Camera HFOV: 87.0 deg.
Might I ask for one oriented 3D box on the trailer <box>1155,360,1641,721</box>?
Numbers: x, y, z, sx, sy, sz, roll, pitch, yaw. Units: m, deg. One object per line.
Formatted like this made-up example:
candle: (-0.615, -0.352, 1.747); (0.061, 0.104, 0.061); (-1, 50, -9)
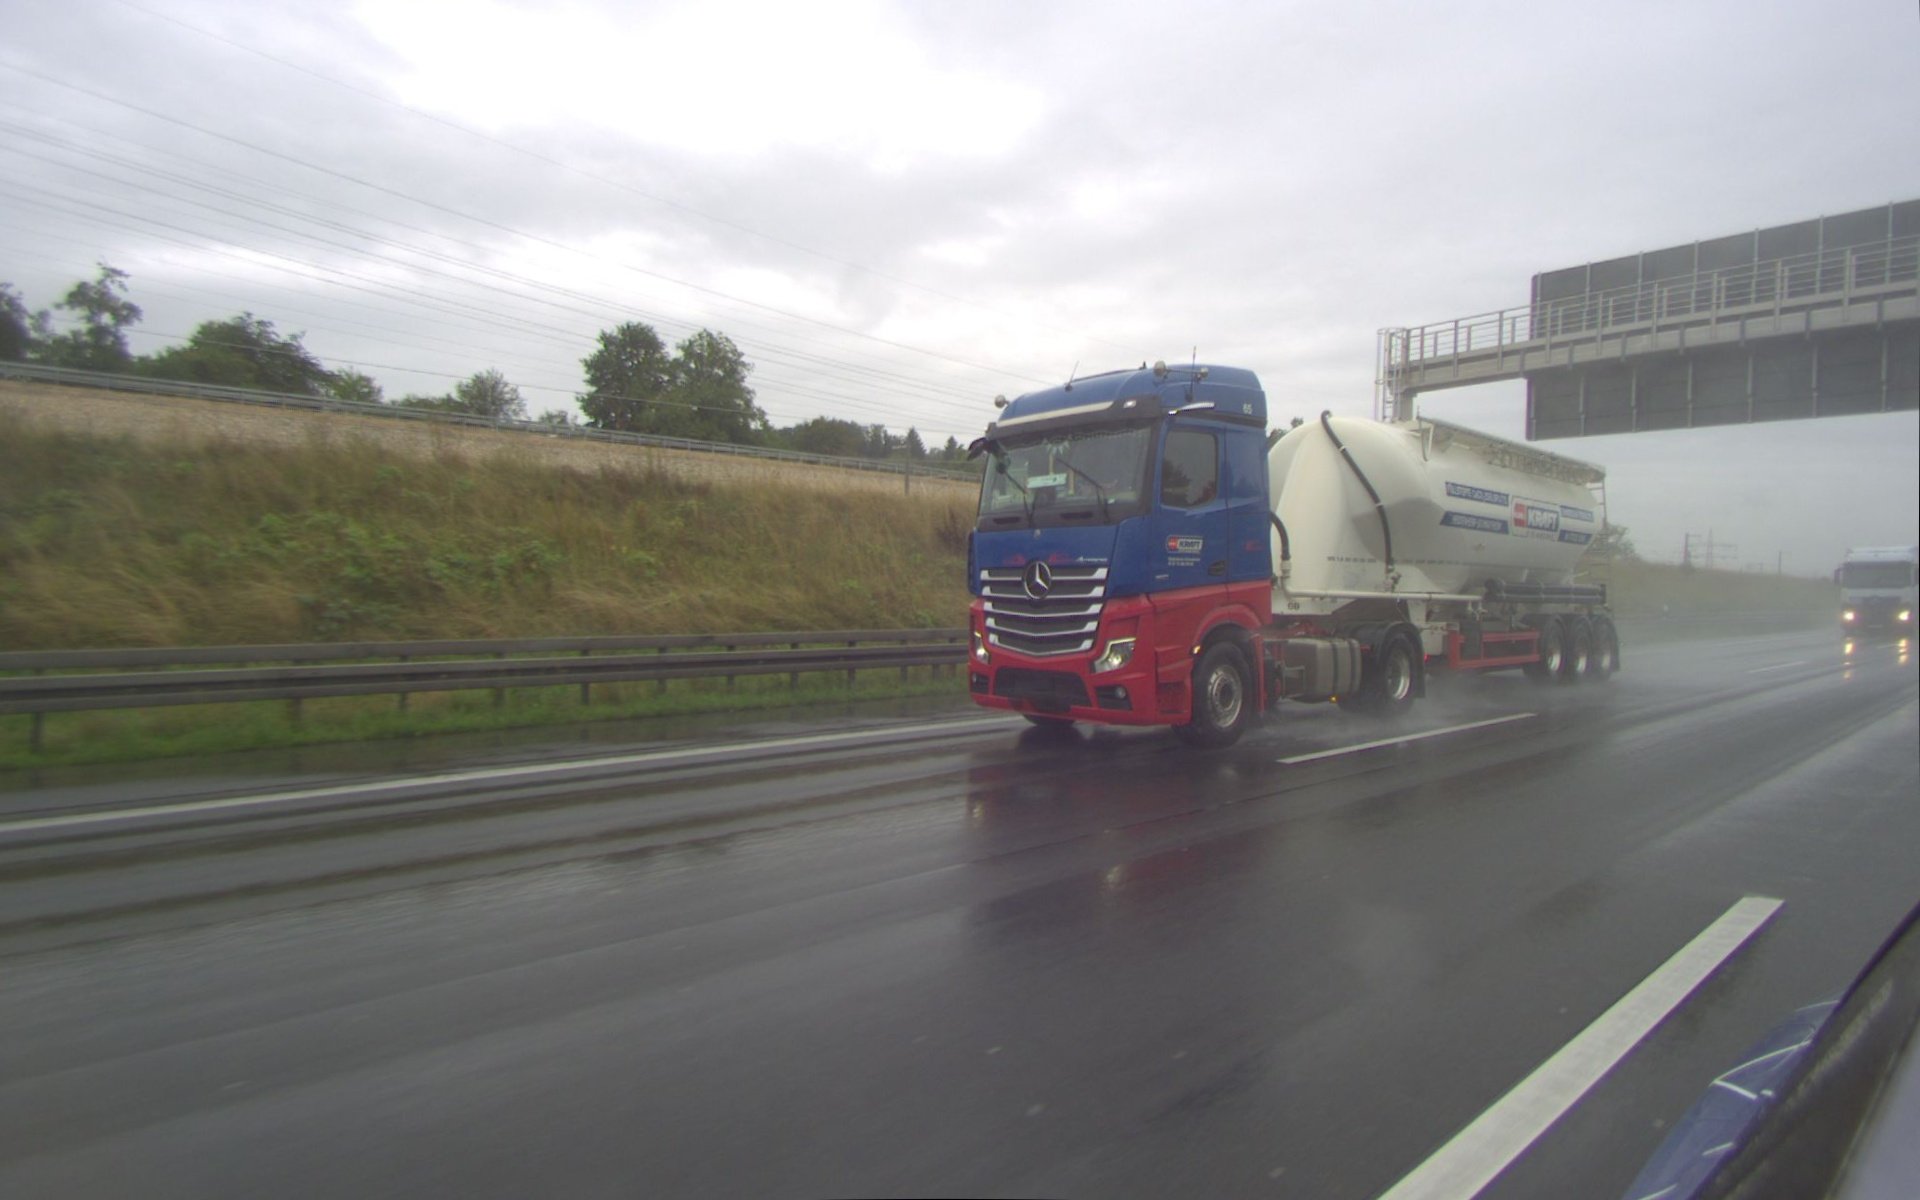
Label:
trailer: (7.374, -0.582, 15.542); (10.873, 3.932, 2.501); (1, -1, -42)

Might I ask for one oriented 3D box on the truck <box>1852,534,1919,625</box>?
truck: (42.908, -0.846, 46.189); (6.089, 3.939, 2.456); (1, -1, -41)

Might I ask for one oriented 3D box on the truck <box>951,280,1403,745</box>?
truck: (2.601, -0.737, 11.366); (4.987, 4.034, 2.500); (1, -1, -41)

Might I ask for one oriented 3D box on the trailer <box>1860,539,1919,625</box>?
trailer: (48.448, -0.689, 51.066); (16.253, 3.814, 2.484); (1, -1, -41)
